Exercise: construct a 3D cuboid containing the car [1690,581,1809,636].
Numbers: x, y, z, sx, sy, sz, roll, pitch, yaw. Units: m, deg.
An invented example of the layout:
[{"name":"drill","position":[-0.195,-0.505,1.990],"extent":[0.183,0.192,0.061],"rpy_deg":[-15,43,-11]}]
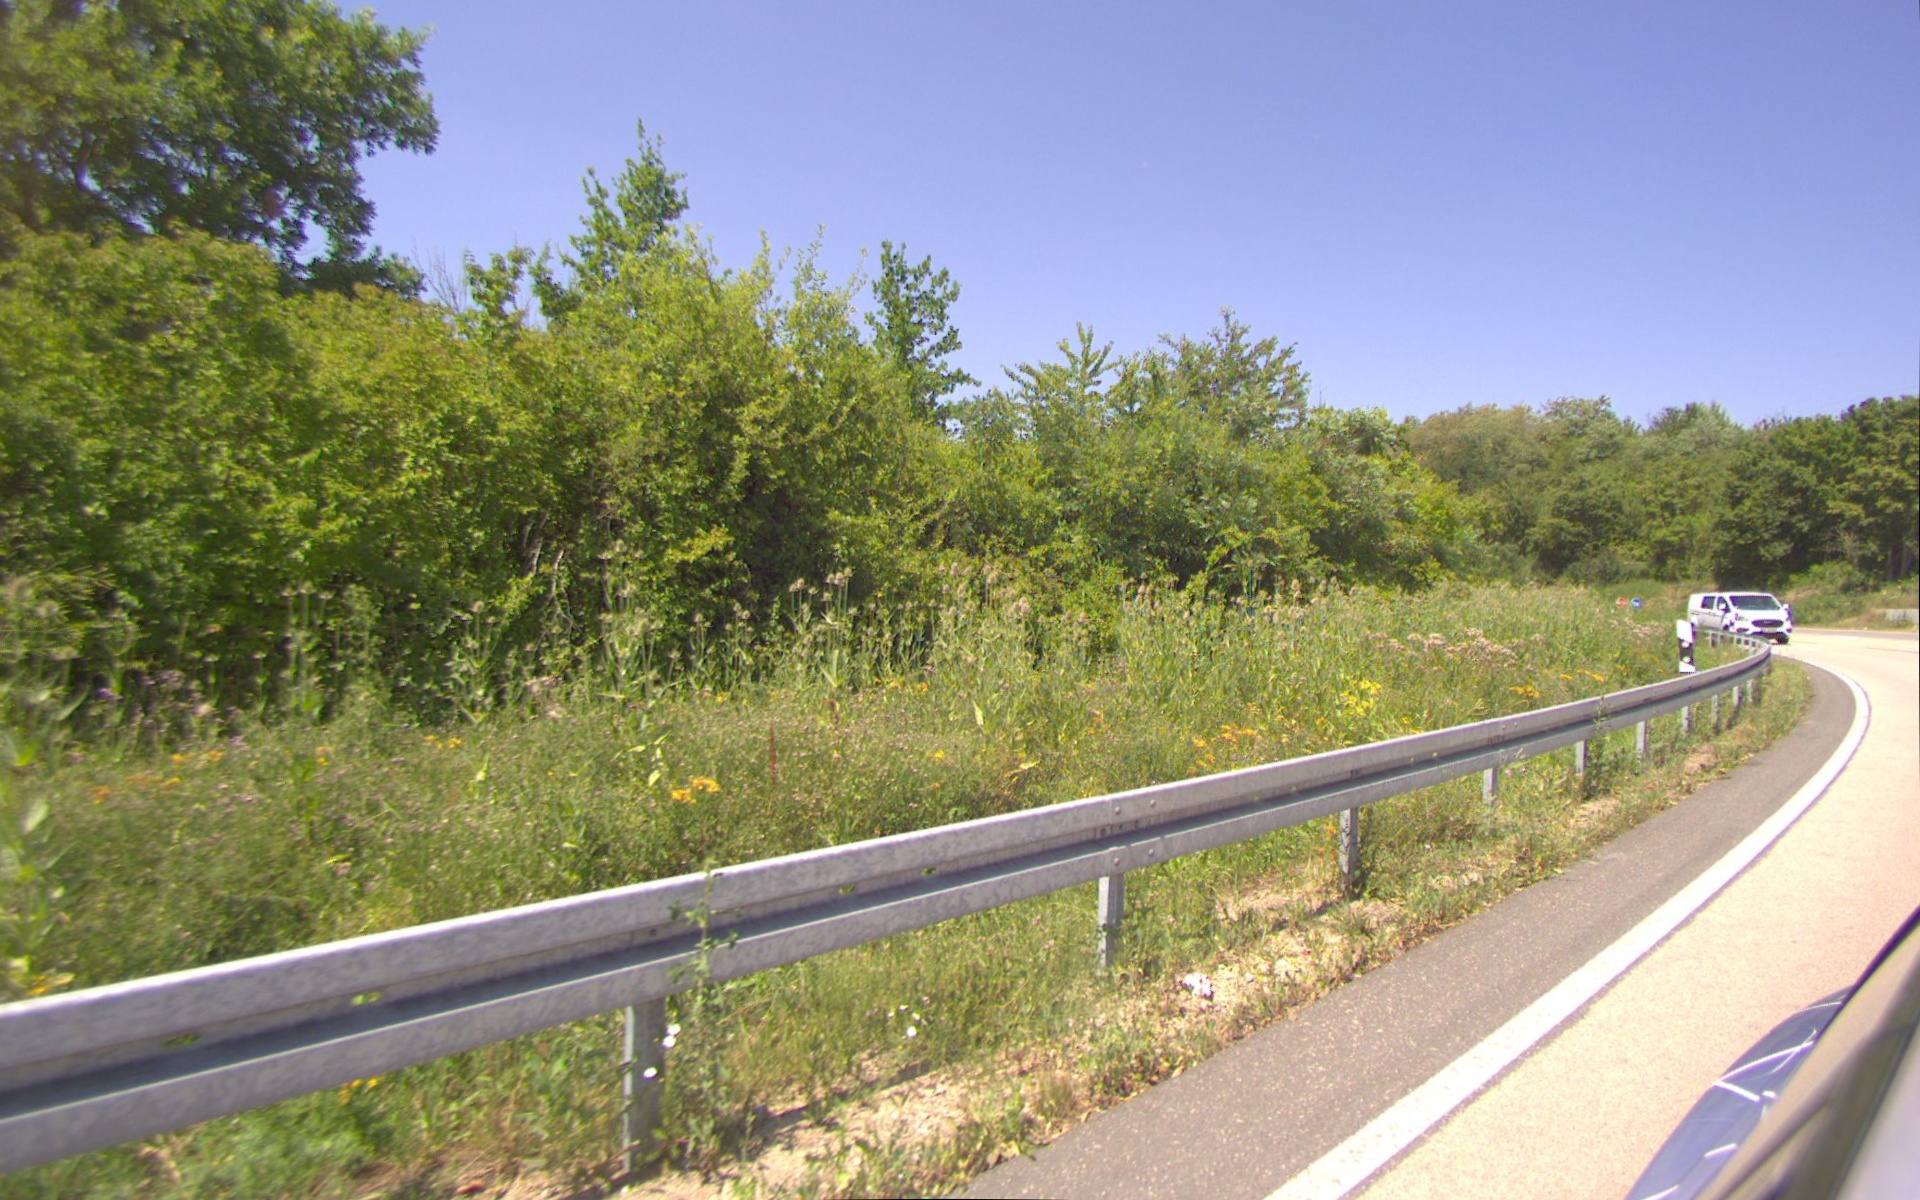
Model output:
[{"name":"car","position":[31.277,0.303,40.276],"extent":[2.036,2.039,5.013],"rpy_deg":[-1,0,17]}]
